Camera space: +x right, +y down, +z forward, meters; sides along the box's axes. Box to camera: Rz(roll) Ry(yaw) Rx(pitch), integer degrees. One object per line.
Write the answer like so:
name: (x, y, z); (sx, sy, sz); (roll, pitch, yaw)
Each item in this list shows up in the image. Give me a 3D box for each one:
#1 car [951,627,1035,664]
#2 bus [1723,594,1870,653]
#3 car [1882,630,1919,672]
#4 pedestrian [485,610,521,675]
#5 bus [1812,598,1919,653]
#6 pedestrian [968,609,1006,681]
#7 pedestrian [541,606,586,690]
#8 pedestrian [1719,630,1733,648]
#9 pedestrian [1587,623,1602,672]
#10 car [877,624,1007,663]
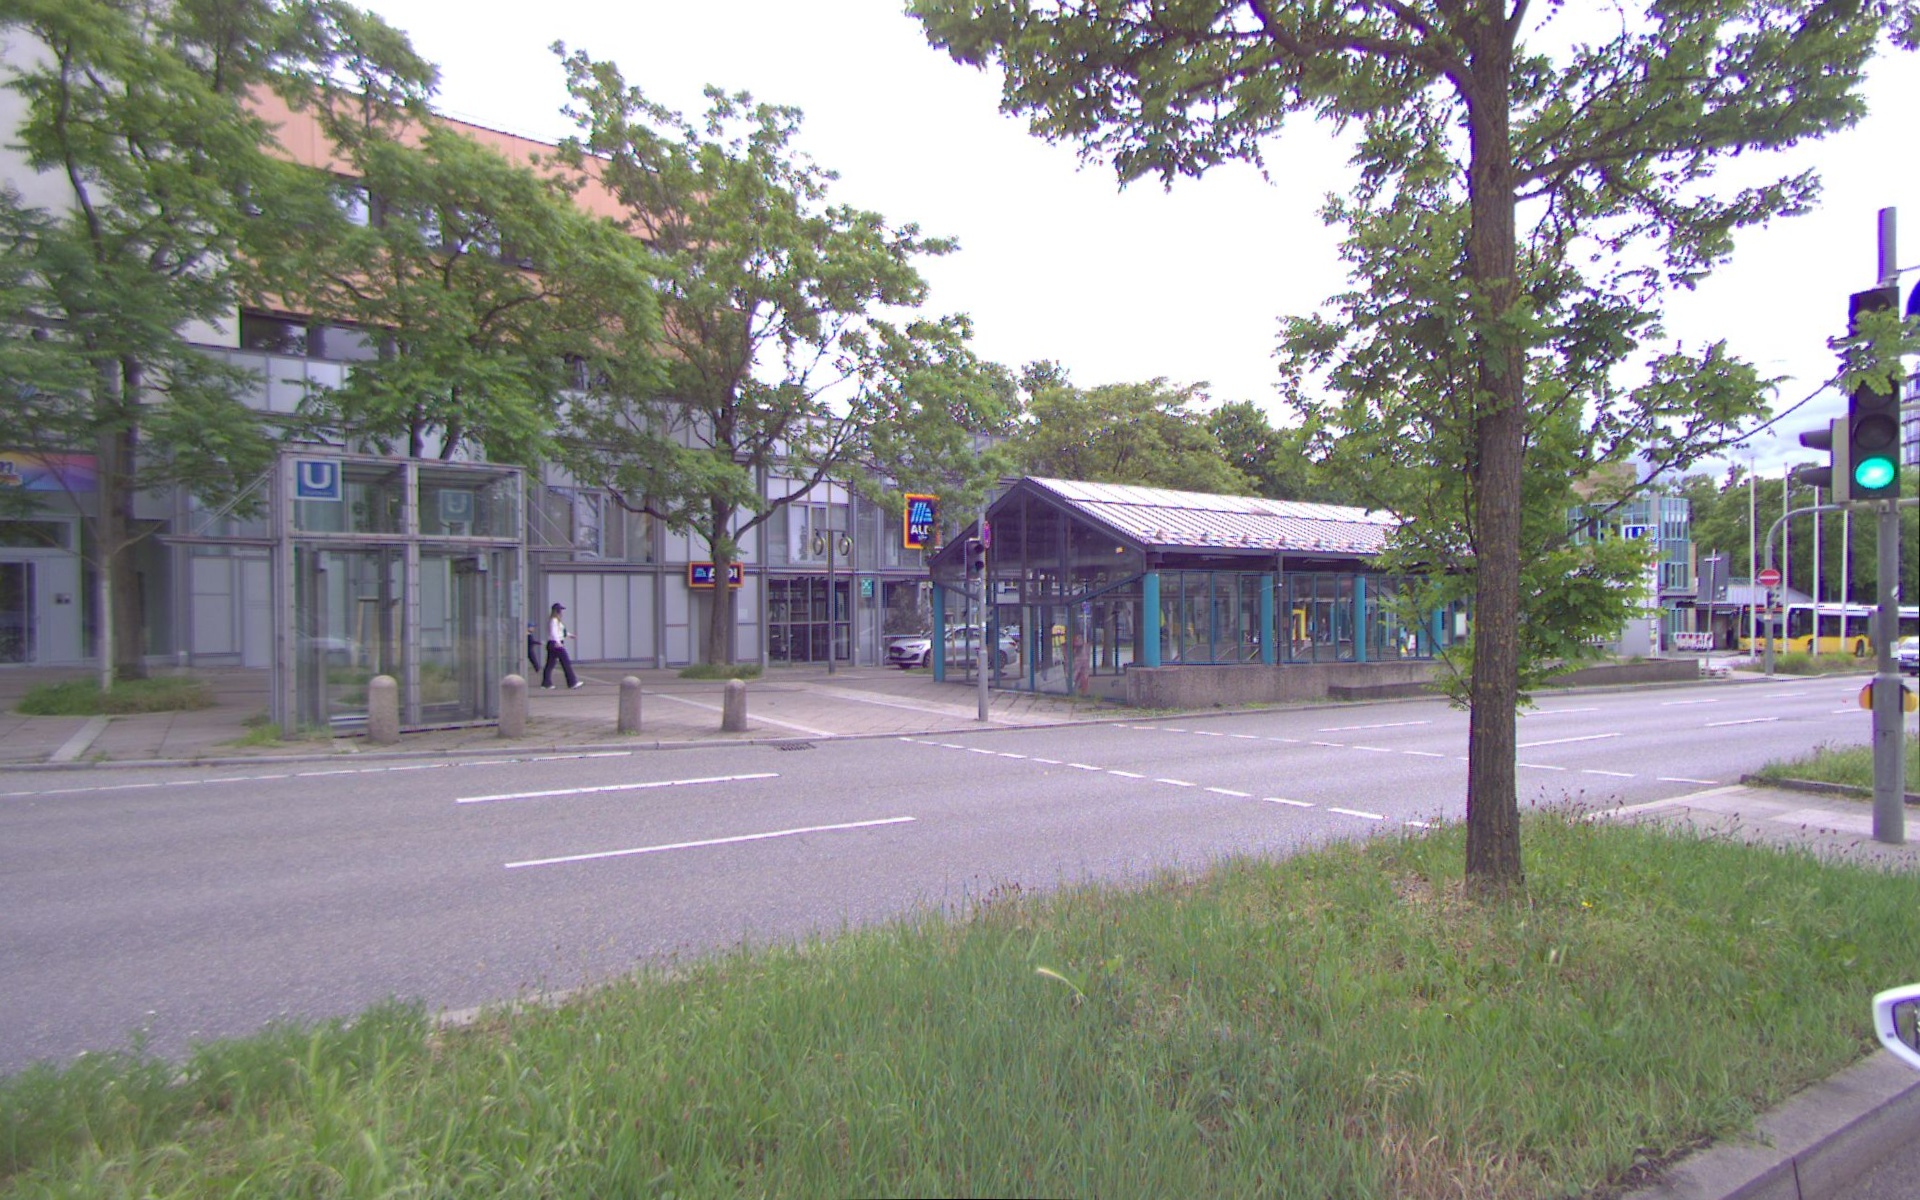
car: (1.590, 2.231, 50.347); (1.769, 1.710, 4.838); (1, -1, -33)
bus: (49.863, 1.469, 59.800); (10.036, 3.293, 2.980); (1, -1, -26)
car: (37.490, 1.976, 39.138); (3.316, 1.599, 1.673); (2, -1, -36)
pedestrian: (-10.800, 0.994, 23.737); (0.618, 1.523, 0.562); (1, -1, -40)
bus: (57.860, 1.640, 63.741); (7.771, 3.313, 2.980); (1, -1, -26)
pedestrian: (0.709, 1.169, 26.314); (0.530, 1.857, 0.916); (0, -2, 44)
pedestrian: (-8.172, 0.979, 20.720); (0.714, 1.672, 0.672); (1, 0, -34)
pedestrian: (47.005, 2.399, 61.638); (0.581, 1.071, 0.520); (2, 0, -30)
pedestrian: (20.936, 1.568, 33.130); (0.412, 1.612, 0.356); (0, -1, 31)
car: (-0.570, 1.415, 32.984); (3.959, 1.184, 1.812); (2, -2, -34)
